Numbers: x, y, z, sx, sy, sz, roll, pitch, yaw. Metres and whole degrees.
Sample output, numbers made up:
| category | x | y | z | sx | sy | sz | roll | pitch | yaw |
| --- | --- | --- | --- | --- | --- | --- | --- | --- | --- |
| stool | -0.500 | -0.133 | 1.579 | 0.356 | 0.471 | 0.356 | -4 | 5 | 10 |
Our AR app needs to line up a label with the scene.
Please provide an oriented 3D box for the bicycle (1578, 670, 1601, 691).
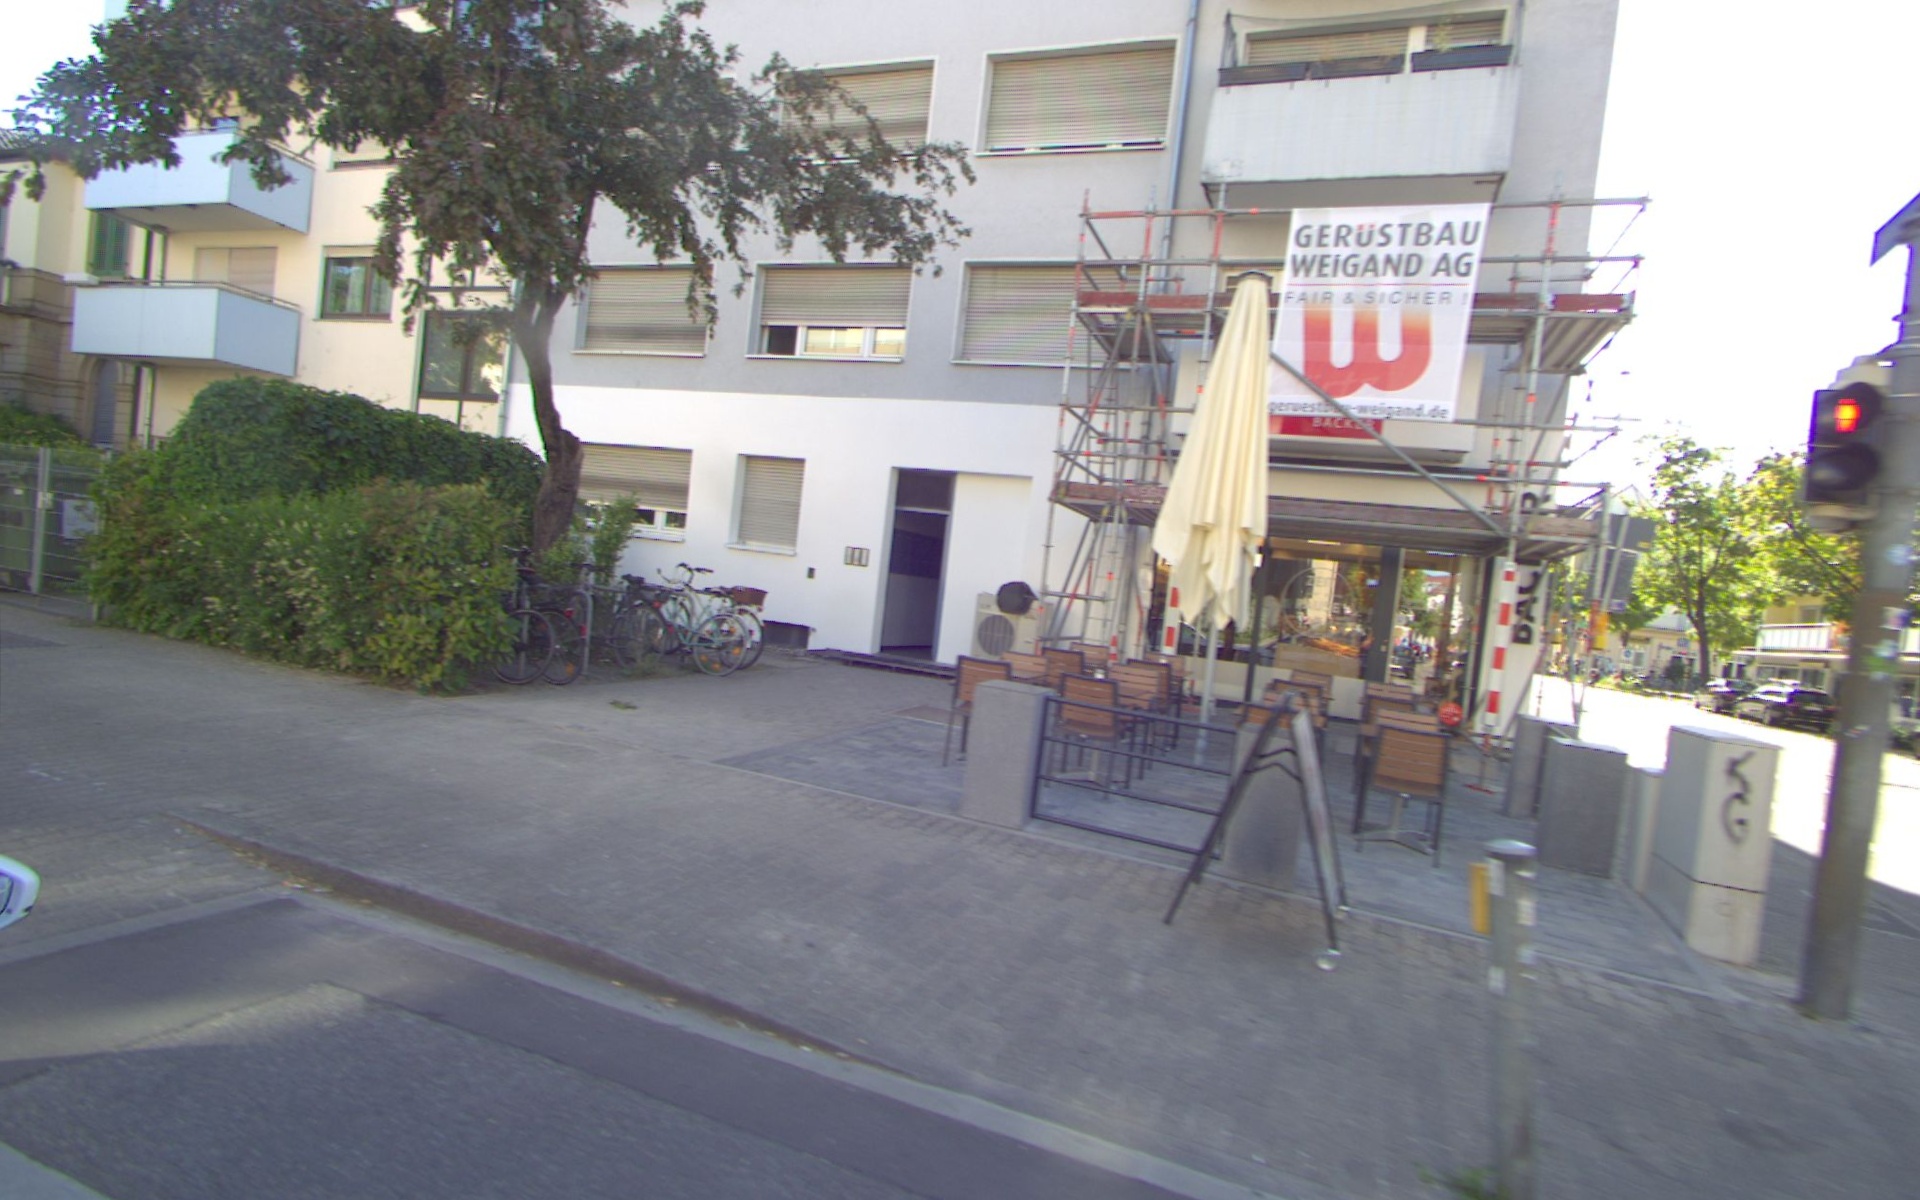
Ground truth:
| category | x | y | z | sx | sy | sz | roll | pitch | yaw |
| --- | --- | --- | --- | --- | --- | --- | --- | --- | --- |
| bicycle | 31.056 | 3.969 | 49.654 | 0.538 | 0.877 | 1.874 | 7 | 1 | 22 |

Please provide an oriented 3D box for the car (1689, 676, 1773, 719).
| category | x | y | z | sx | sy | sz | roll | pitch | yaw |
| --- | --- | --- | --- | --- | --- | --- | --- | --- | --- |
| car | 31.402 | 3.936 | 41.071 | 1.686 | 1.331 | 3.378 | 7 | 1 | 21 |

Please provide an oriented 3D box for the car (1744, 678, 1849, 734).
| category | x | y | z | sx | sy | sz | roll | pitch | yaw |
| --- | --- | --- | --- | --- | --- | --- | --- | --- | --- |
| car | 29.477 | 3.710 | 35.565 | 1.686 | 1.502 | 3.378 | 7 | 1 | 21 |

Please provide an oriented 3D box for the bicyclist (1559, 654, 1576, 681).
| category | x | y | z | sx | sy | sz | roll | pitch | yaw |
| --- | --- | --- | --- | --- | --- | --- | --- | --- | --- |
| bicyclist | 33.566 | 3.723 | 55.580 | 0.538 | 1.400 | 0.822 | 7 | 2 | 22 |

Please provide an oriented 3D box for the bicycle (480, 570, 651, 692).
| category | x | y | z | sx | sy | sz | roll | pitch | yaw |
| --- | --- | --- | --- | --- | --- | --- | --- | --- | --- |
| bicycle | -3.798 | 0.282 | 9.659 | 1.565 | 0.952 | 0.512 | 7 | 2 | 24 |

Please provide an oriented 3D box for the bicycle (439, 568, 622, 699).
| category | x | y | z | sx | sy | sz | roll | pitch | yaw |
| --- | --- | --- | --- | --- | --- | --- | --- | --- | --- |
| bicycle | -3.856 | 0.282 | 9.008 | 1.565 | 0.952 | 0.512 | 7 | 2 | 24 |

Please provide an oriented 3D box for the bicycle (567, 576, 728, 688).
| category | x | y | z | sx | sy | sz | roll | pitch | yaw |
| --- | --- | --- | --- | --- | --- | --- | --- | --- | --- |
| bicycle | -3.230 | 0.315 | 10.386 | 1.565 | 0.952 | 0.512 | 7 | 2 | 24 |

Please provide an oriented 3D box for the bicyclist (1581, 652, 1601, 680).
| category | x | y | z | sx | sy | sz | roll | pitch | yaw |
| --- | --- | --- | --- | --- | --- | --- | --- | --- | --- |
| bicyclist | 31.148 | 3.247 | 49.649 | 0.538 | 1.278 | 0.802 | 7 | 2 | 22 |

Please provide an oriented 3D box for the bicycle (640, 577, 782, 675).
| category | x | y | z | sx | sy | sz | roll | pitch | yaw |
| --- | --- | --- | --- | --- | --- | --- | --- | --- | --- |
| bicycle | -2.956 | 0.296 | 11.913 | 1.565 | 0.952 | 0.512 | 7 | 2 | 24 |

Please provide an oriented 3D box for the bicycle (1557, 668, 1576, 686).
| category | x | y | z | sx | sy | sz | roll | pitch | yaw |
| --- | --- | --- | --- | --- | --- | --- | --- | --- | --- |
| bicycle | 33.502 | 4.256 | 55.591 | 0.538 | 0.877 | 1.874 | 7 | 1 | 22 |

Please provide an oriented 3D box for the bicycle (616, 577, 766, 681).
| category | x | y | z | sx | sy | sz | roll | pitch | yaw |
| --- | --- | --- | --- | --- | --- | --- | --- | --- | --- |
| bicycle | -3.008 | 0.309 | 11.228 | 1.565 | 0.952 | 0.512 | 7 | 2 | 24 |

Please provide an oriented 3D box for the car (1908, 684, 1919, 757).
| category | x | y | z | sx | sy | sz | roll | pitch | yaw |
| --- | --- | --- | --- | --- | --- | --- | --- | --- | --- |
| car | 25.151 | 3.187 | 24.015 | 2.015 | 1.870 | 4.579 | 7 | 1 | 23 |
